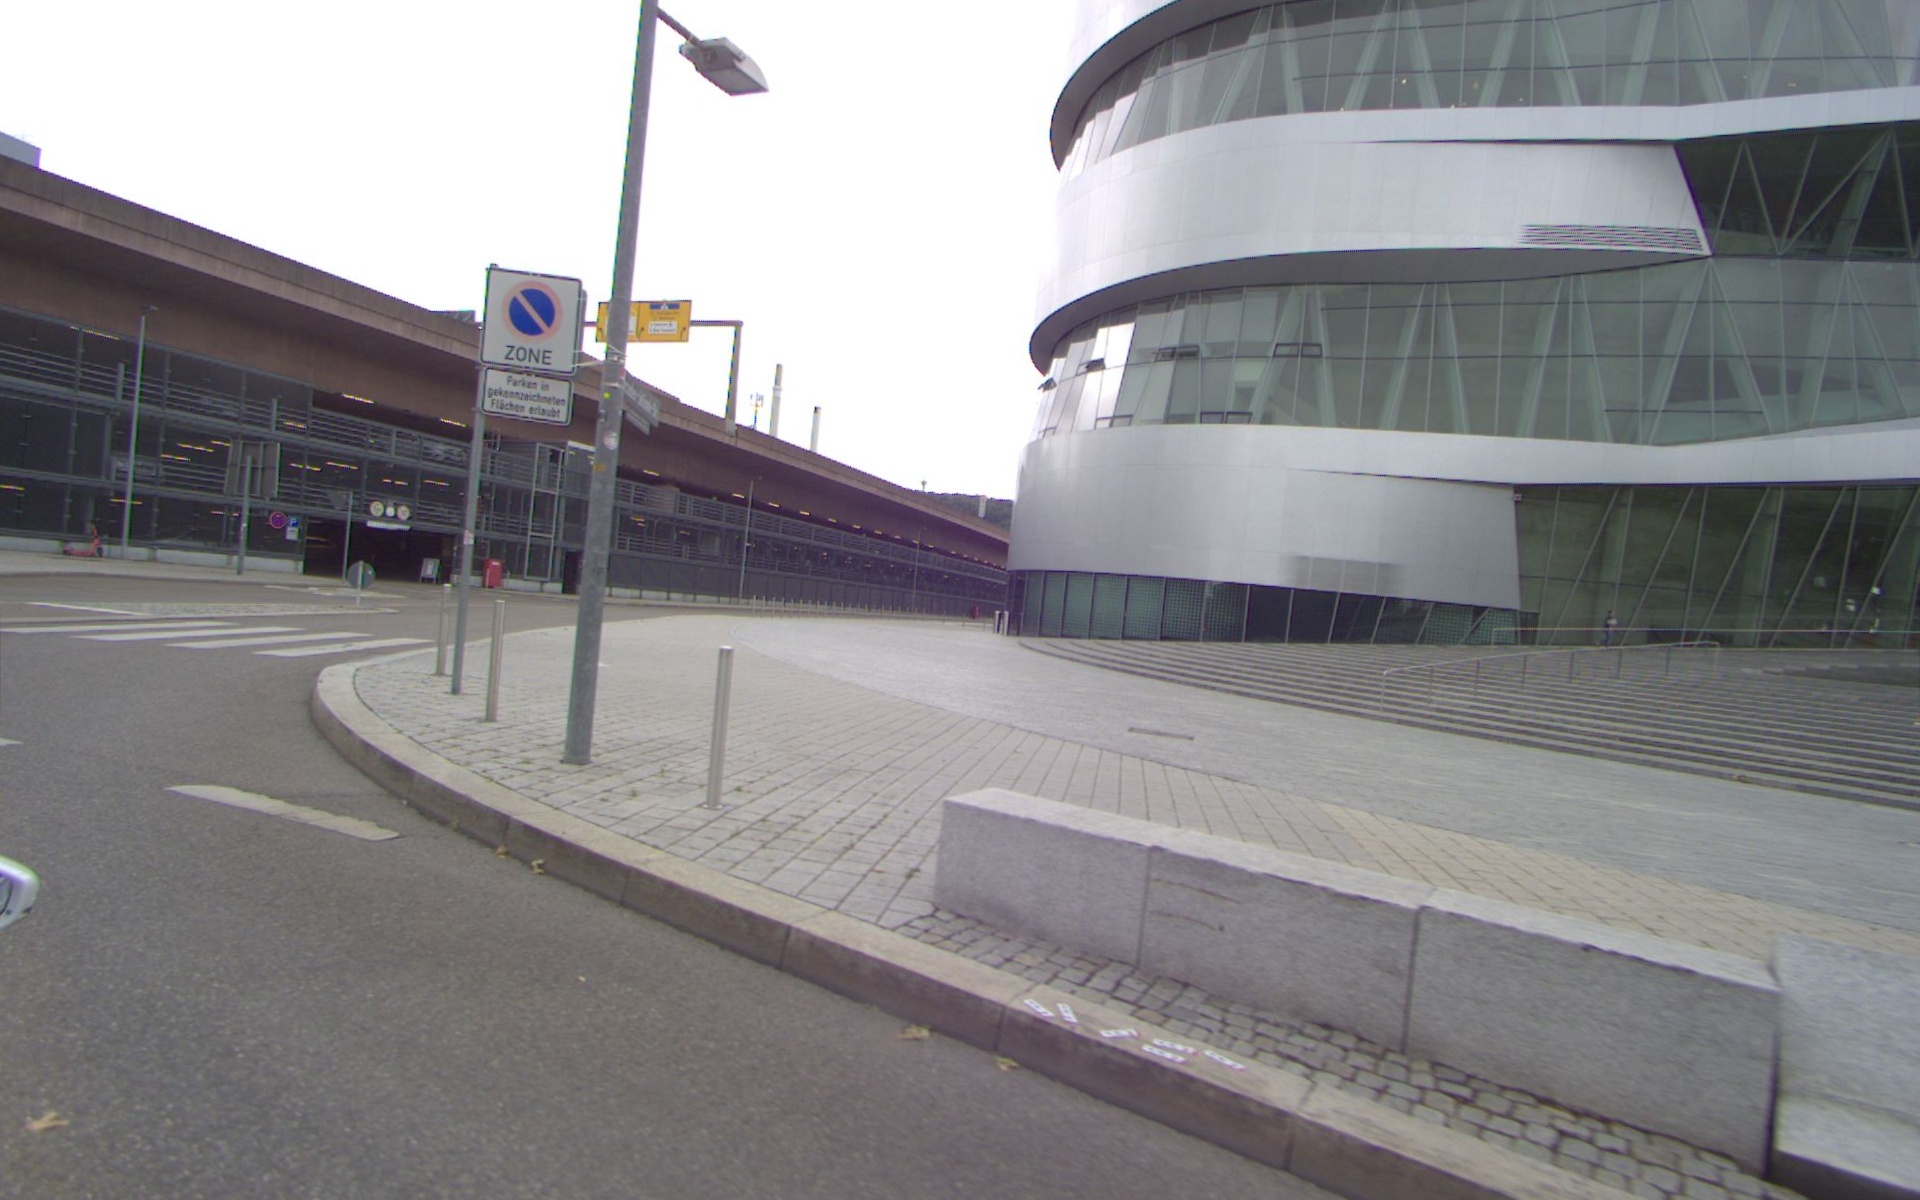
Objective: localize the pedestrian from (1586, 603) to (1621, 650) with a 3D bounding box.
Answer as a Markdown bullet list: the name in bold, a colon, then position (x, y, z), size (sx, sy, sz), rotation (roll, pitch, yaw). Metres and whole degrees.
- **pedestrian**: position (27.283, 1.119, 42.678), size (0.934, 1.948, 0.853), rotation (2, 0, 10)

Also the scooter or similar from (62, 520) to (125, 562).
- **scooter or similar**: position (-27.831, -1.882, 32.324), size (0.374, 1.137, 1.428), rotation (7, 0, 23)
